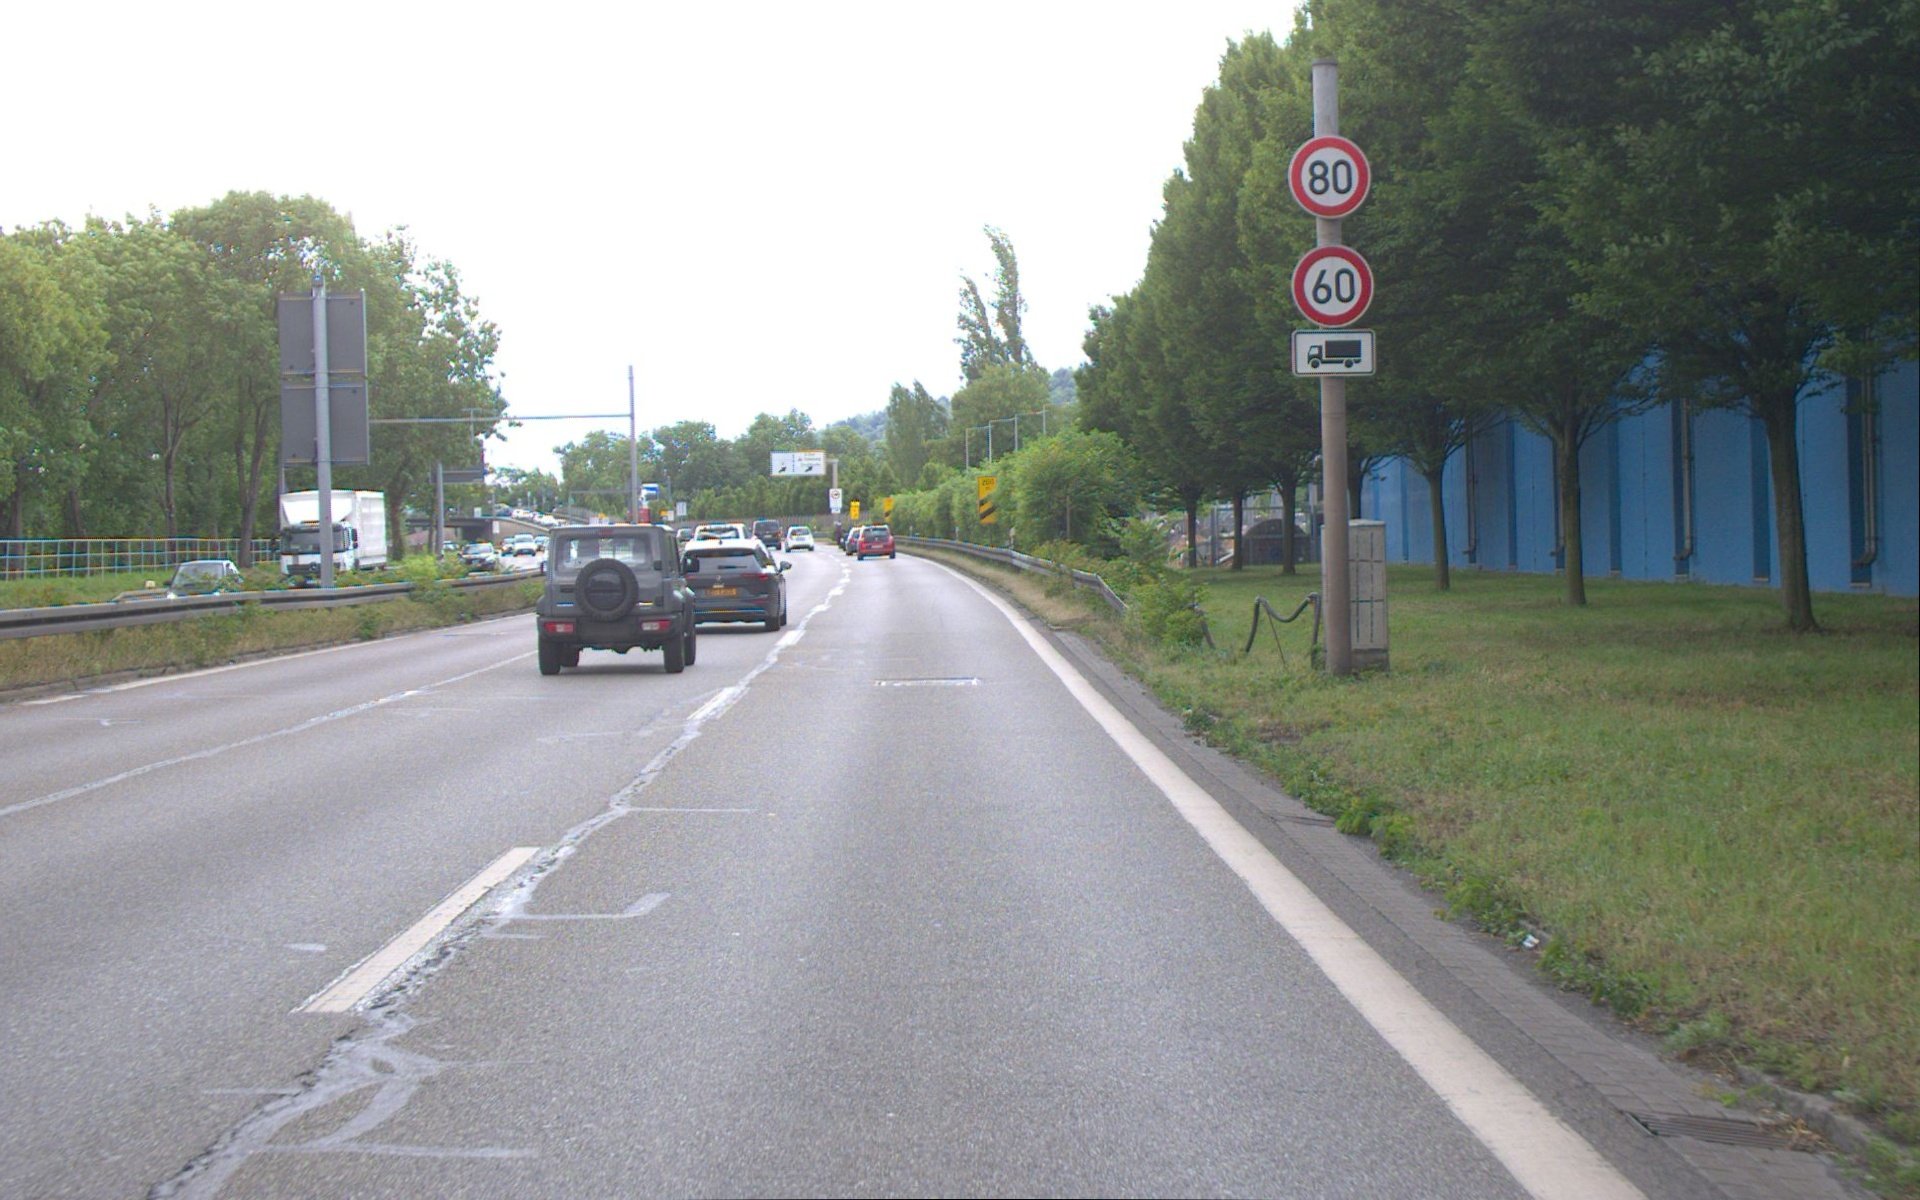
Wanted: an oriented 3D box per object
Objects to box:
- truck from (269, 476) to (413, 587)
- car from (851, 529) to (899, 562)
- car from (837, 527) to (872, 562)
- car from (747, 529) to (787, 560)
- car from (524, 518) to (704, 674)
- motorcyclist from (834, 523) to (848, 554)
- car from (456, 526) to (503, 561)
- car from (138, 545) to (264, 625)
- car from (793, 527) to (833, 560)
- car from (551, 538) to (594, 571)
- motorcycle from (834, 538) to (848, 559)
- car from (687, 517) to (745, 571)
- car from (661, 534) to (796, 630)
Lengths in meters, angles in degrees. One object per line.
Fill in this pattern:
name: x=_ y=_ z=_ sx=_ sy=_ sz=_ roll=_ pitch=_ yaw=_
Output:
truck: x=-21.318 y=-2.356 z=118.938 sx=2.889 sy=3.566 sz=9.587 roll=-2 pitch=1 yaw=1
car: x=-3.874 y=-2.478 z=156.182 sx=1.974 sy=1.418 sz=4.901 roll=-2 pitch=1 yaw=-3
car: x=-5.413 y=-2.860 z=177.178 sx=1.697 sy=1.736 sz=4.393 roll=-2 pitch=1 yaw=-1
car: x=-12.782 y=-3.676 z=227.369 sx=2.013 sy=1.927 sz=4.902 roll=-3 pitch=1 yaw=-10
car: x=-3.966 y=-0.092 z=39.922 sx=1.697 sy=1.680 sz=4.000 roll=-1 pitch=2 yaw=-1
motorcyclist: x=-6.877 y=-3.555 z=199.104 sx=0.791 sy=1.754 sz=0.923 roll=-1 pitch=1 yaw=-1
car: x=-23.892 y=-2.812 z=171.190 sx=1.726 sy=1.599 sz=4.043 roll=-4 pitch=1 yaw=-1
car: x=-17.488 y=-0.374 z=79.369 sx=1.878 sy=1.719 sz=4.146 roll=-1 pitch=2 yaw=2
car: x=-9.051 y=-3.450 z=211.025 sx=2.013 sy=1.927 sz=4.901 roll=-3 pitch=1 yaw=-7
car: x=-20.244 y=-2.388 z=179.724 sx=1.697 sy=1.599 sz=4.539 roll=-4 pitch=1 yaw=-1
motorcycle: x=-6.882 y=-2.979 z=199.128 sx=0.791 sy=1.215 sz=2.330 roll=-1 pitch=2 yaw=-2
car: x=-8.088 y=-1.870 z=114.133 sx=1.697 sy=1.736 sz=4.000 roll=-2 pitch=1 yaw=-2
car: x=-3.606 y=-0.315 z=54.342 sx=1.845 sy=1.418 sz=4.901 roll=-1 pitch=1 yaw=-1
